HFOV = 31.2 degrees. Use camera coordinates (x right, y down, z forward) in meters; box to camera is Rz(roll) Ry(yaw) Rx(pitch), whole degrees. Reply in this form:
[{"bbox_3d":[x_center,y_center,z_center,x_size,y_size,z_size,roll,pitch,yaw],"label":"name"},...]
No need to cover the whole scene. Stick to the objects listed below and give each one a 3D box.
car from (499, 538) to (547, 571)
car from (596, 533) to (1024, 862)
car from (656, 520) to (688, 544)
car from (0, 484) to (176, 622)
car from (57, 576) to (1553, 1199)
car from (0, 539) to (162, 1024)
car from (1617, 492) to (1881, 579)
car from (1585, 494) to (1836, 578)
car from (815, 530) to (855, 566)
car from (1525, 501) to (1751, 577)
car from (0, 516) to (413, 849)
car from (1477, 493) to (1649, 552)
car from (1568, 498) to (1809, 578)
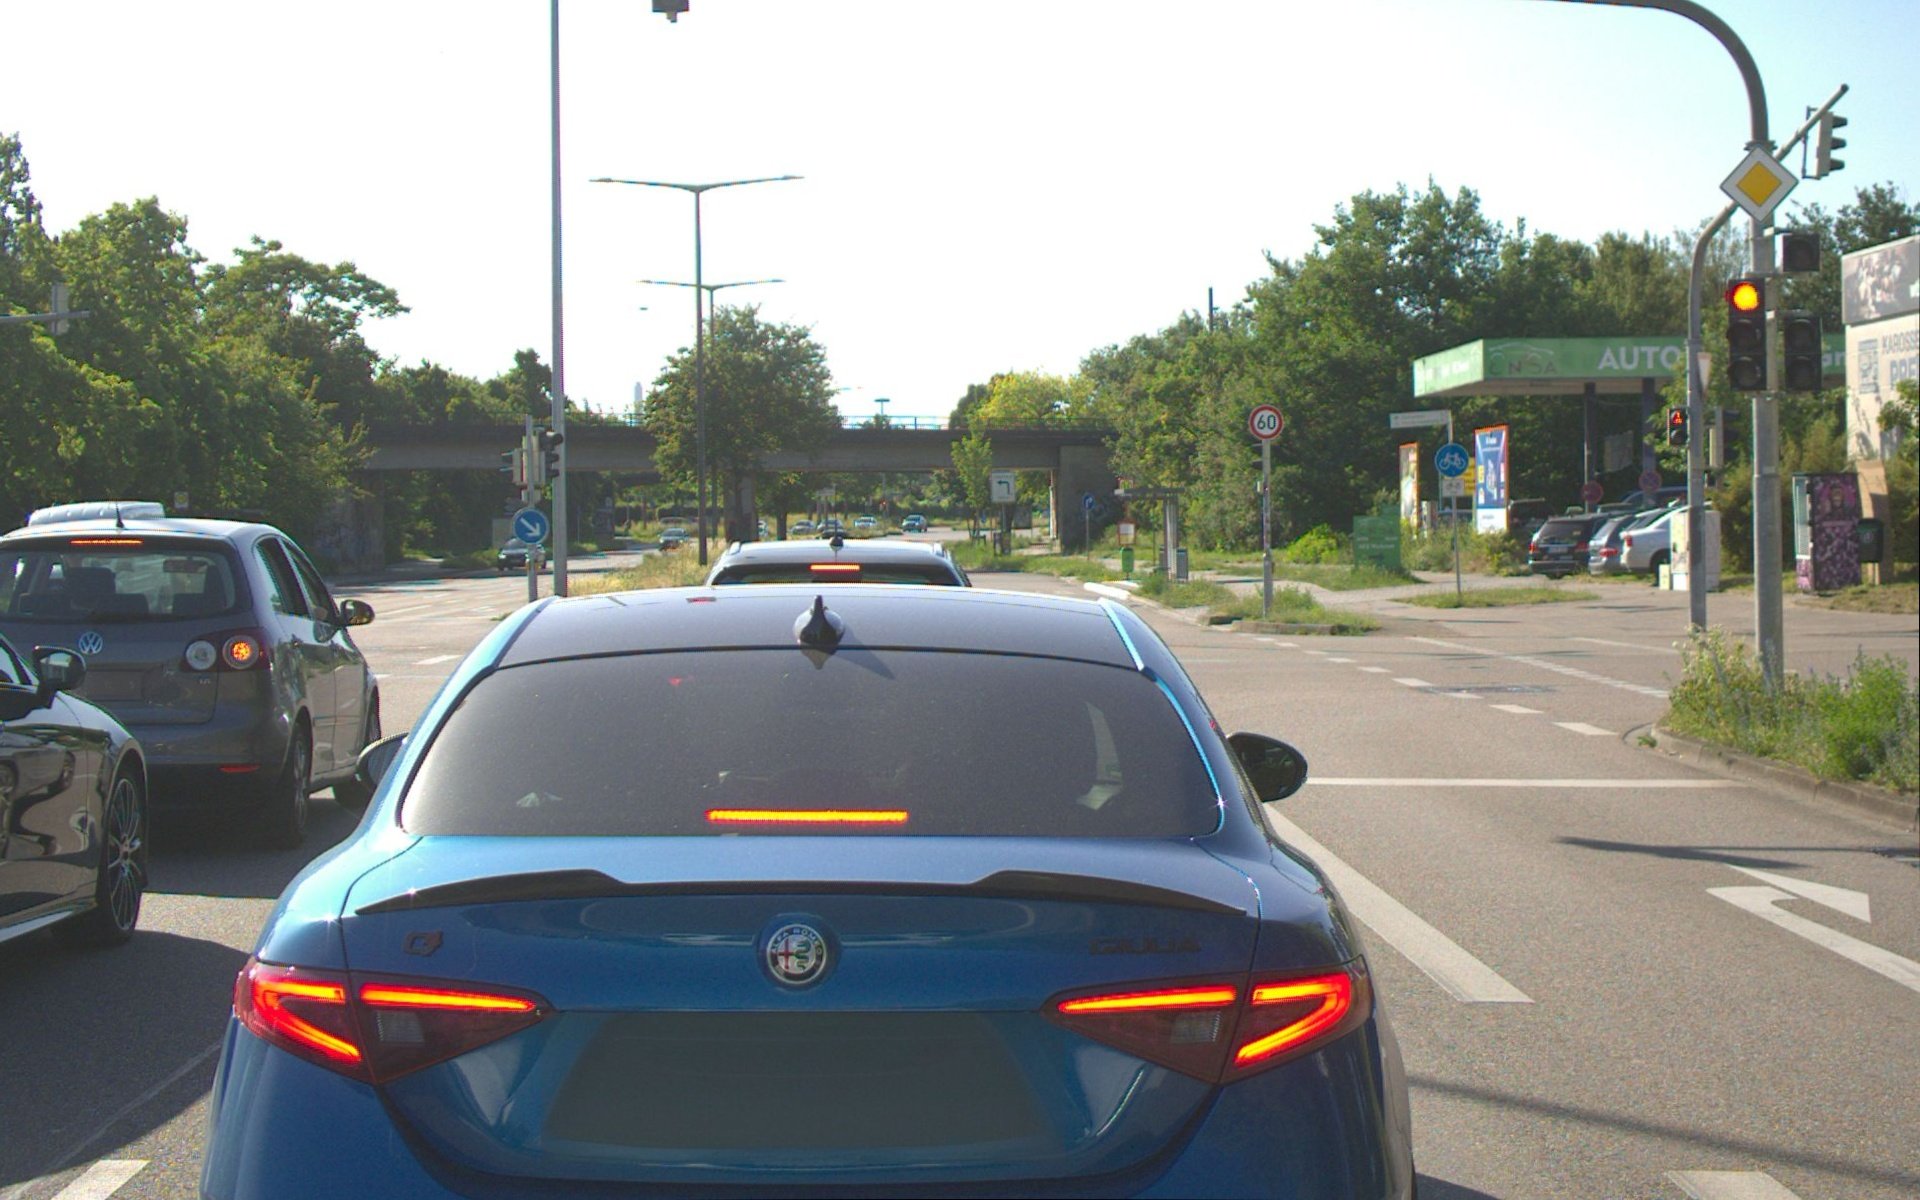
[{"bbox_3d":[-21.103,-2.204,166.153,1.759,1.485,4.478,-2,1,0],"label":"car"},{"bbox_3d":[-0.717,0.406,17.221,1.850,1.413,4.403,1,1,-2],"label":"car"},{"bbox_3d":[-18.949,-4.469,226.342,1.759,1.485,4.478,-2,1,0],"label":"car"},{"bbox_3d":[-16.885,-0.905,66.598,2.022,2.439,5.822,-4,1,-1],"label":"car"},{"bbox_3d":[-0.261,0.682,6.588,1.895,1.413,4.403,1,1,-2],"label":"car"},{"bbox_3d":[-3.828,0.542,10.598,1.796,1.485,4.476,1,1,-2],"label":"car"},{"bbox_3d":[14.774,-1.207,64.551,4.489,1.449,1.858,-2,1,1],"label":"car"},{"bbox_3d":[14.658,-1.245,67.330,4.489,1.449,1.858,-2,1,1],"label":"car"},{"bbox_3d":[-6.271,-2.611,173.354,1.891,1.809,4.000,1,1,-1],"label":"car"},{"bbox_3d":[14.594,-1.310,74.134,4.489,1.449,1.858,-2,1,1],"label":"car"},{"bbox_3d":[-3.993,0.348,17.697,1.759,1.485,4.403,1,1,-2],"label":"car"},{"bbox_3d":[17.041,-2.190,97.298,4.551,1.485,1.765,-2,1,1],"label":"car"},{"bbox_3d":[14.814,-1.262,70.084,4.489,1.449,1.858,-2,1,1],"label":"car"}]
